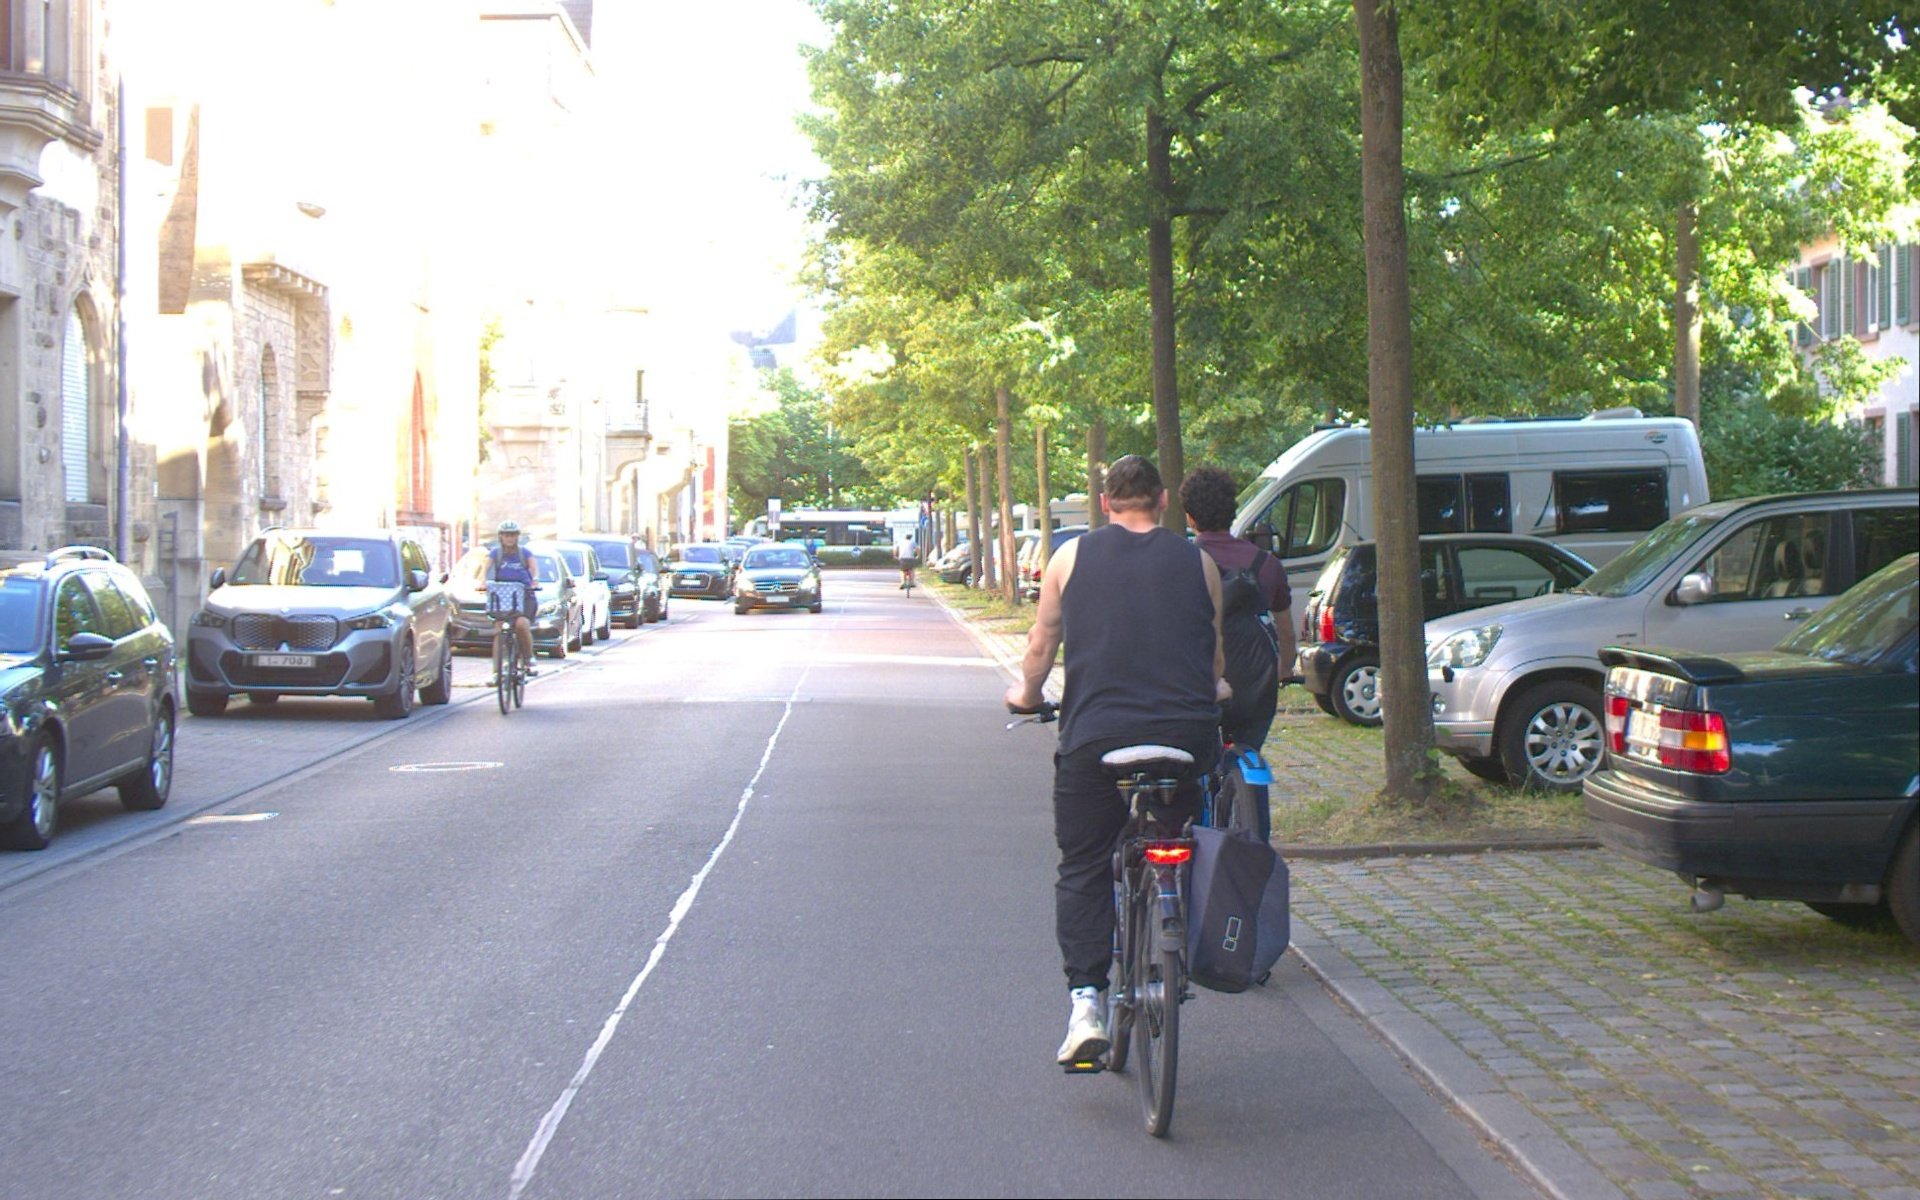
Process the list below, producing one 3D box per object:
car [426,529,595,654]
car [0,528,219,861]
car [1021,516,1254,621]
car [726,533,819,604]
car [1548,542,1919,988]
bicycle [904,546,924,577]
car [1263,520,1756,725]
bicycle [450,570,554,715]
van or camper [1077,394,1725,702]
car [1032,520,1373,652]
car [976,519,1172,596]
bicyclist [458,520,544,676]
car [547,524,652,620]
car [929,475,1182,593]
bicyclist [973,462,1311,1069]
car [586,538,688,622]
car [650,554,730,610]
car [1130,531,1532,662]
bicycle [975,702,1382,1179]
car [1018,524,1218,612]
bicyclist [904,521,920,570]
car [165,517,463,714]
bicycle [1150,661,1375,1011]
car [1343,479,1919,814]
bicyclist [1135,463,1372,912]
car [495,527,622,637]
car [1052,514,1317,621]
[{"bbox_3d":[-6.029,-0.126,46.539,1.755,1.512,4.115,4,0,-1],"label":"car"},{"bbox_3d":[-5.371,0.447,18.573,1.729,1.569,4.708,0,0,0],"label":"car"},{"bbox_3d":[3.303,-0.589,64.643,4.243,1.833,1.855,-2,0,0],"label":"car"},{"bbox_3d":[-4.063,-0.652,73.892,1.896,1.481,4.382,0,0,-4],"label":"car"},{"bbox_3d":[4.783,0.463,12.394,4.893,1.437,1.942,-2,0,-3],"label":"car"},{"bbox_3d":[-1.281,-1.069,95.448,0.541,0.825,1.919,0,0,-1],"label":"bicycle"},{"bbox_3d":[4.245,0.166,26.923,3.500,1.467,1.752,-1,0,-2],"label":"car"},{"bbox_3d":[-4.059,0.351,30.615,0.753,1.174,2.621,-1,2,-5],"label":"bicycle"},{"bbox_3d":[4.012,-0.473,32.019,5.573,2.528,2.269,-2,0,-3],"label":"van or camper"},{"bbox_3d":[3.167,-0.185,45.350,4.242,1.600,1.754,-2,0,-4],"label":"car"},{"bbox_3d":[2.798,-1.040,85.262,4.757,1.774,1.855,-2,0,0],"label":"car"},{"bbox_3d":[-4.053,-0.030,30.409,0.665,1.340,1.060,-1,2,-5],"label":"bicyclist"},{"bbox_3d":[-6.441,-0.485,61.744,1.630,1.660,3.969,0,0,-2],"label":"car"},{"bbox_3d":[2.808,-1.944,101.969,7.332,3.271,2.223,-2,0,0],"label":"car"},{"bbox_3d":[0.464,0.413,9.153,0.706,1.521,0.972,0,0,-9],"label":"bicyclist"},{"bbox_3d":[-6.280,-0.394,67.196,1.615,1.477,4.019,4,0,-1],"label":"car"},{"bbox_3d":[-7.257,-0.467,92.732,1.993,1.481,4.000,0,0,-2],"label":"car"},{"bbox_3d":[4.294,-0.049,40.324,4.502,1.448,1.816,-1,0,0],"label":"car"},{"bbox_3d":[0.529,0.839,9.183,0.696,1.069,1.969,0,0,-8],"label":"bicycle"},{"bbox_3d":[3.422,-0.689,75.128,4.243,1.791,1.855,-2,0,0],"label":"car"},{"bbox_3d":[-1.335,-1.514,95.438,0.417,1.346,0.430,0,0,-1],"label":"bicyclist"},{"bbox_3d":[-5.633,0.123,30.485,2.049,1.616,4.396,0,0,-3],"label":"car"},{"bbox_3d":[1.036,0.783,12.142,0.555,1.069,1.969,0,1,-2],"label":"bicycle"},{"bbox_3d":[4.619,0.195,19.789,4.475,1.664,1.943,-3,2,-3],"label":"car"},{"bbox_3d":[1.021,0.295,12.142,0.718,1.521,0.972,0,0,-2],"label":"bicyclist"},{"bbox_3d":[-6.060,-0.281,52.177,1.491,1.512,3.775,4,0,-1],"label":"car"},{"bbox_3d":[3.708,-0.527,57.239,4.243,1.642,1.855,-2,0,0],"label":"car"}]
